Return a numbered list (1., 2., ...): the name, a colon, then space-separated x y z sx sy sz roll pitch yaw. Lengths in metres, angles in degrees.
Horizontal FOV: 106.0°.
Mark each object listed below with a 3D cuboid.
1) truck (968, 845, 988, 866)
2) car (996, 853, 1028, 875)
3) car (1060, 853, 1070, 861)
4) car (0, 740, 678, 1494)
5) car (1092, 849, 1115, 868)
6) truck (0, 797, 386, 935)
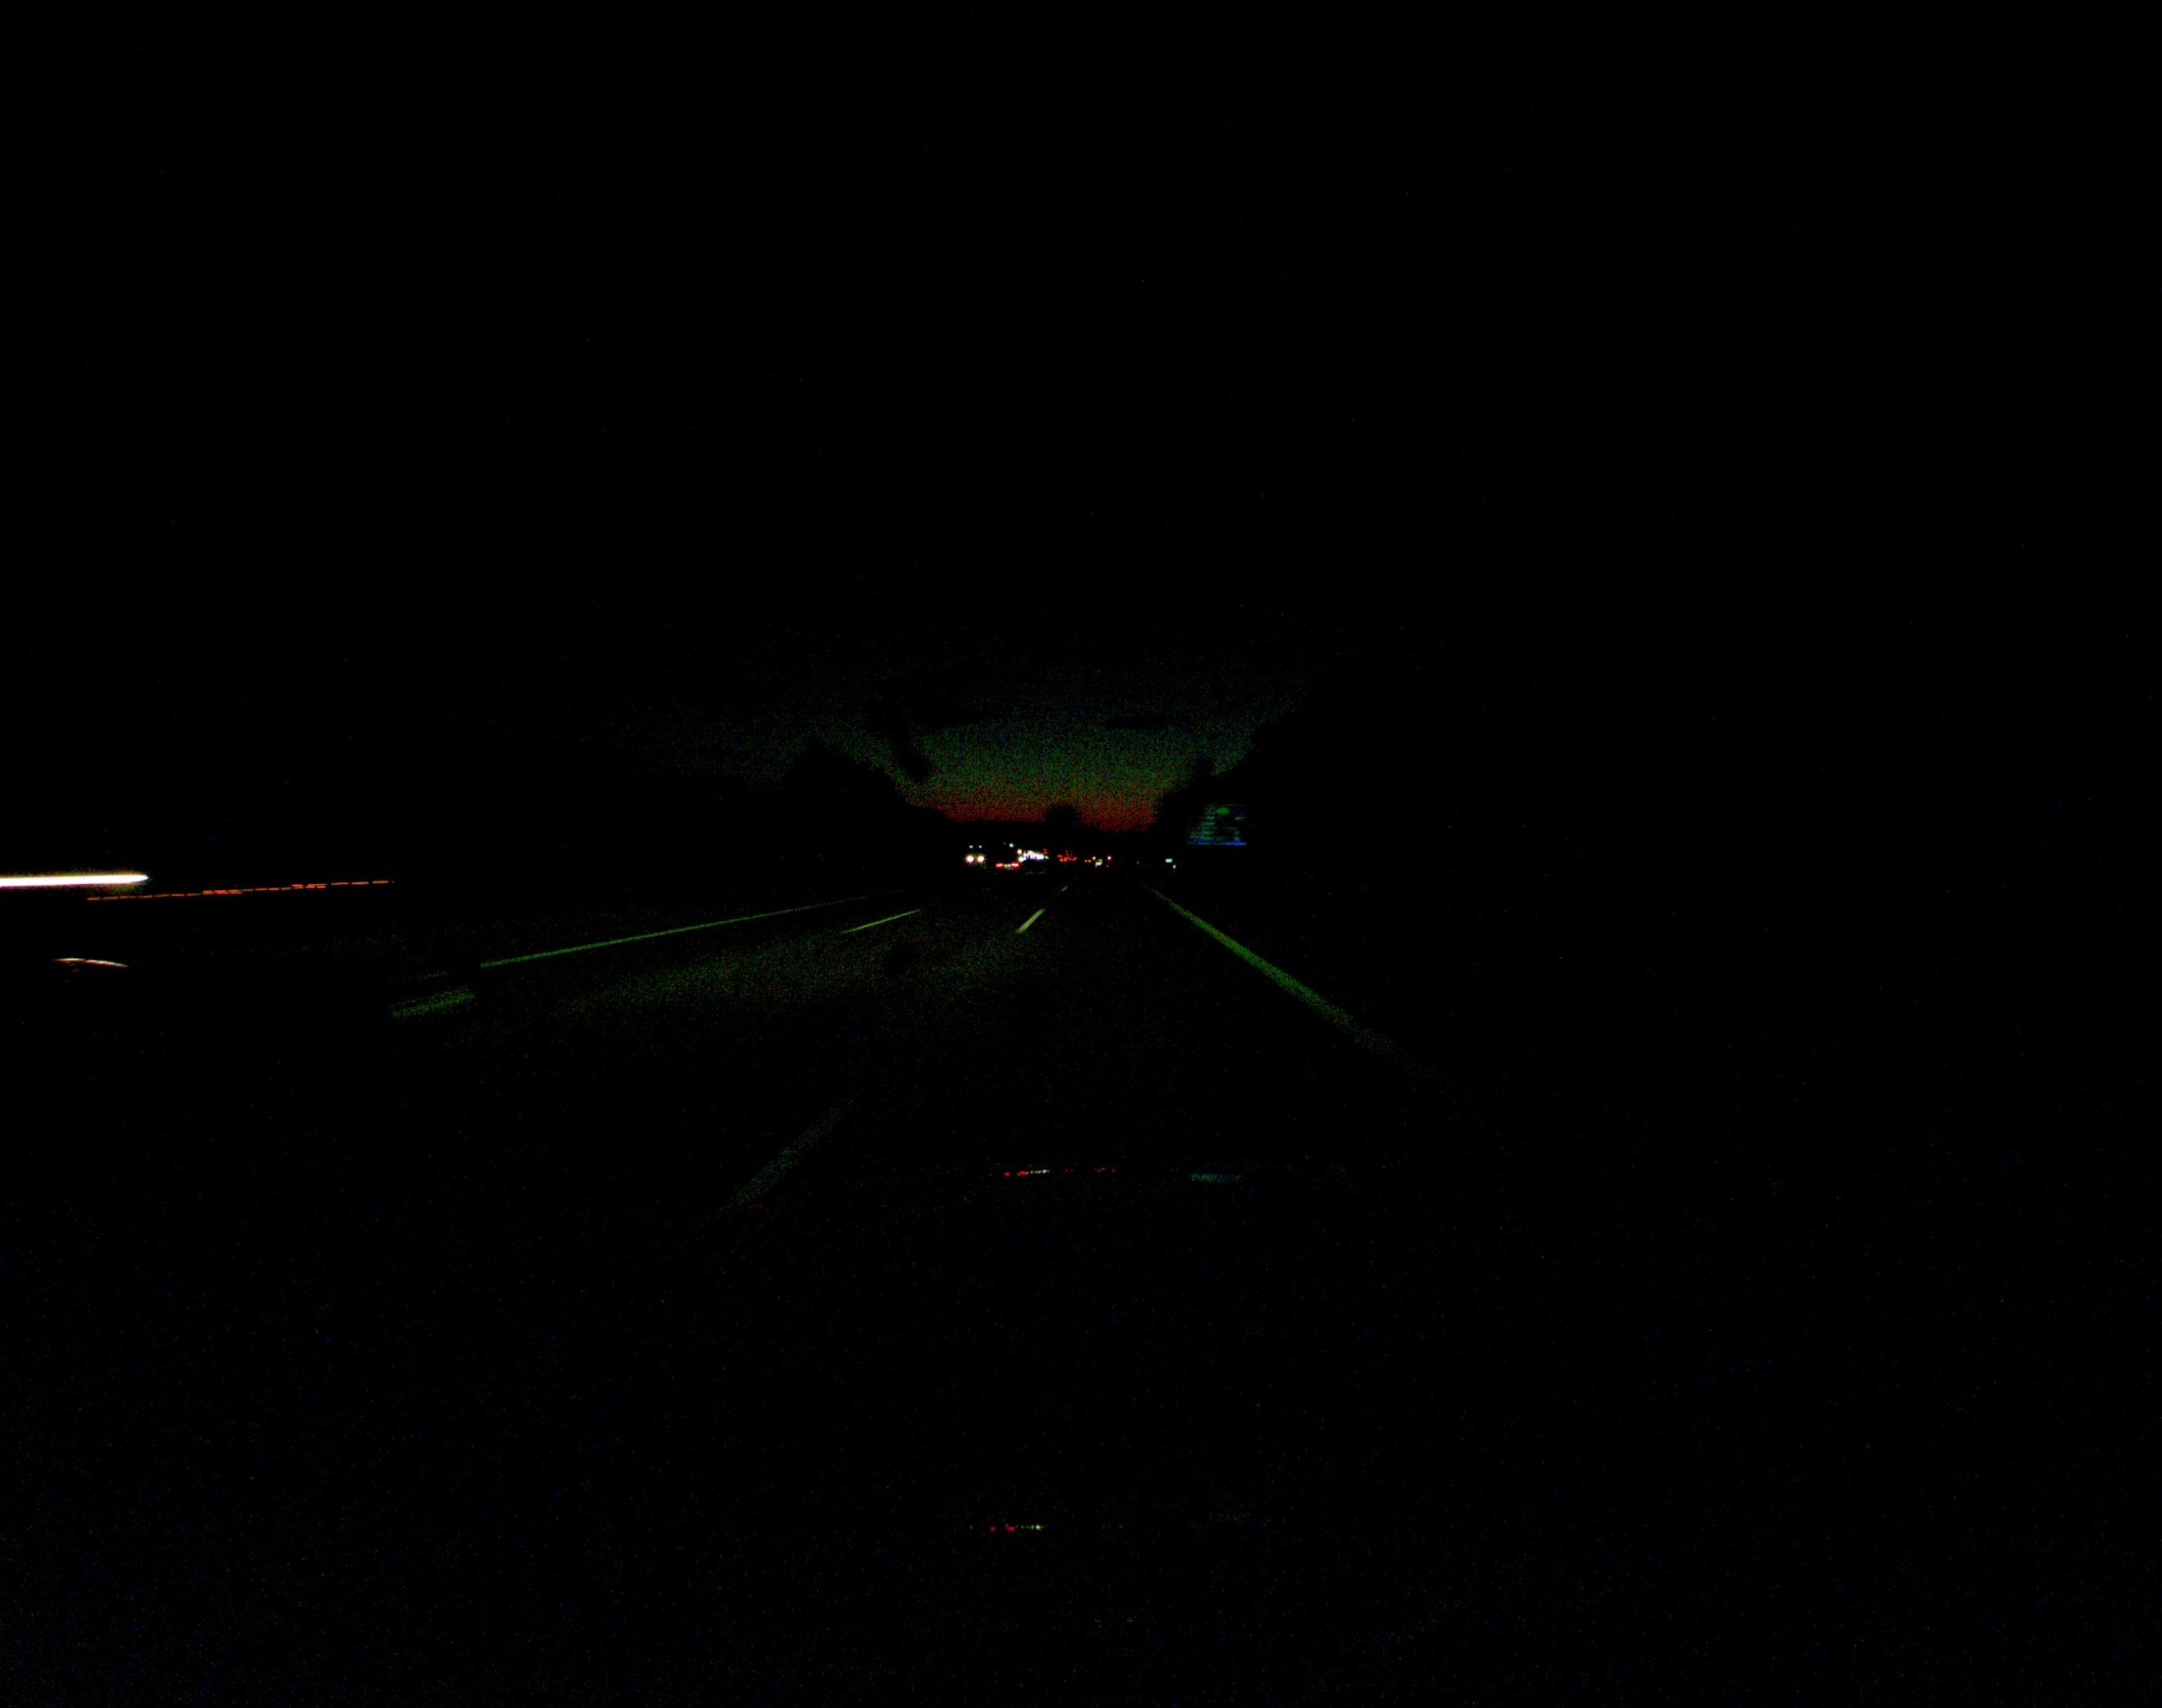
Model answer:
1. truck: -19.684 0.282 156.119 2.510 3.851 9.068 0 0 2
2. car: -5.255 0.701 62.260 1.773 1.486 5.256 2 1 2
3. car: -4.387 0.797 223.212 2.188 1.955 4.635 2 1 2
4. car: -3.474 0.620 1.811 1.986 1.721 5.945 -1 1 2
5. car: 2.489 0.427 88.288 2.186 1.955 4.769 -1 1 4
6. truck: -21.685 0.177 20.102 2.188 2.725 7.628 3 1 2
